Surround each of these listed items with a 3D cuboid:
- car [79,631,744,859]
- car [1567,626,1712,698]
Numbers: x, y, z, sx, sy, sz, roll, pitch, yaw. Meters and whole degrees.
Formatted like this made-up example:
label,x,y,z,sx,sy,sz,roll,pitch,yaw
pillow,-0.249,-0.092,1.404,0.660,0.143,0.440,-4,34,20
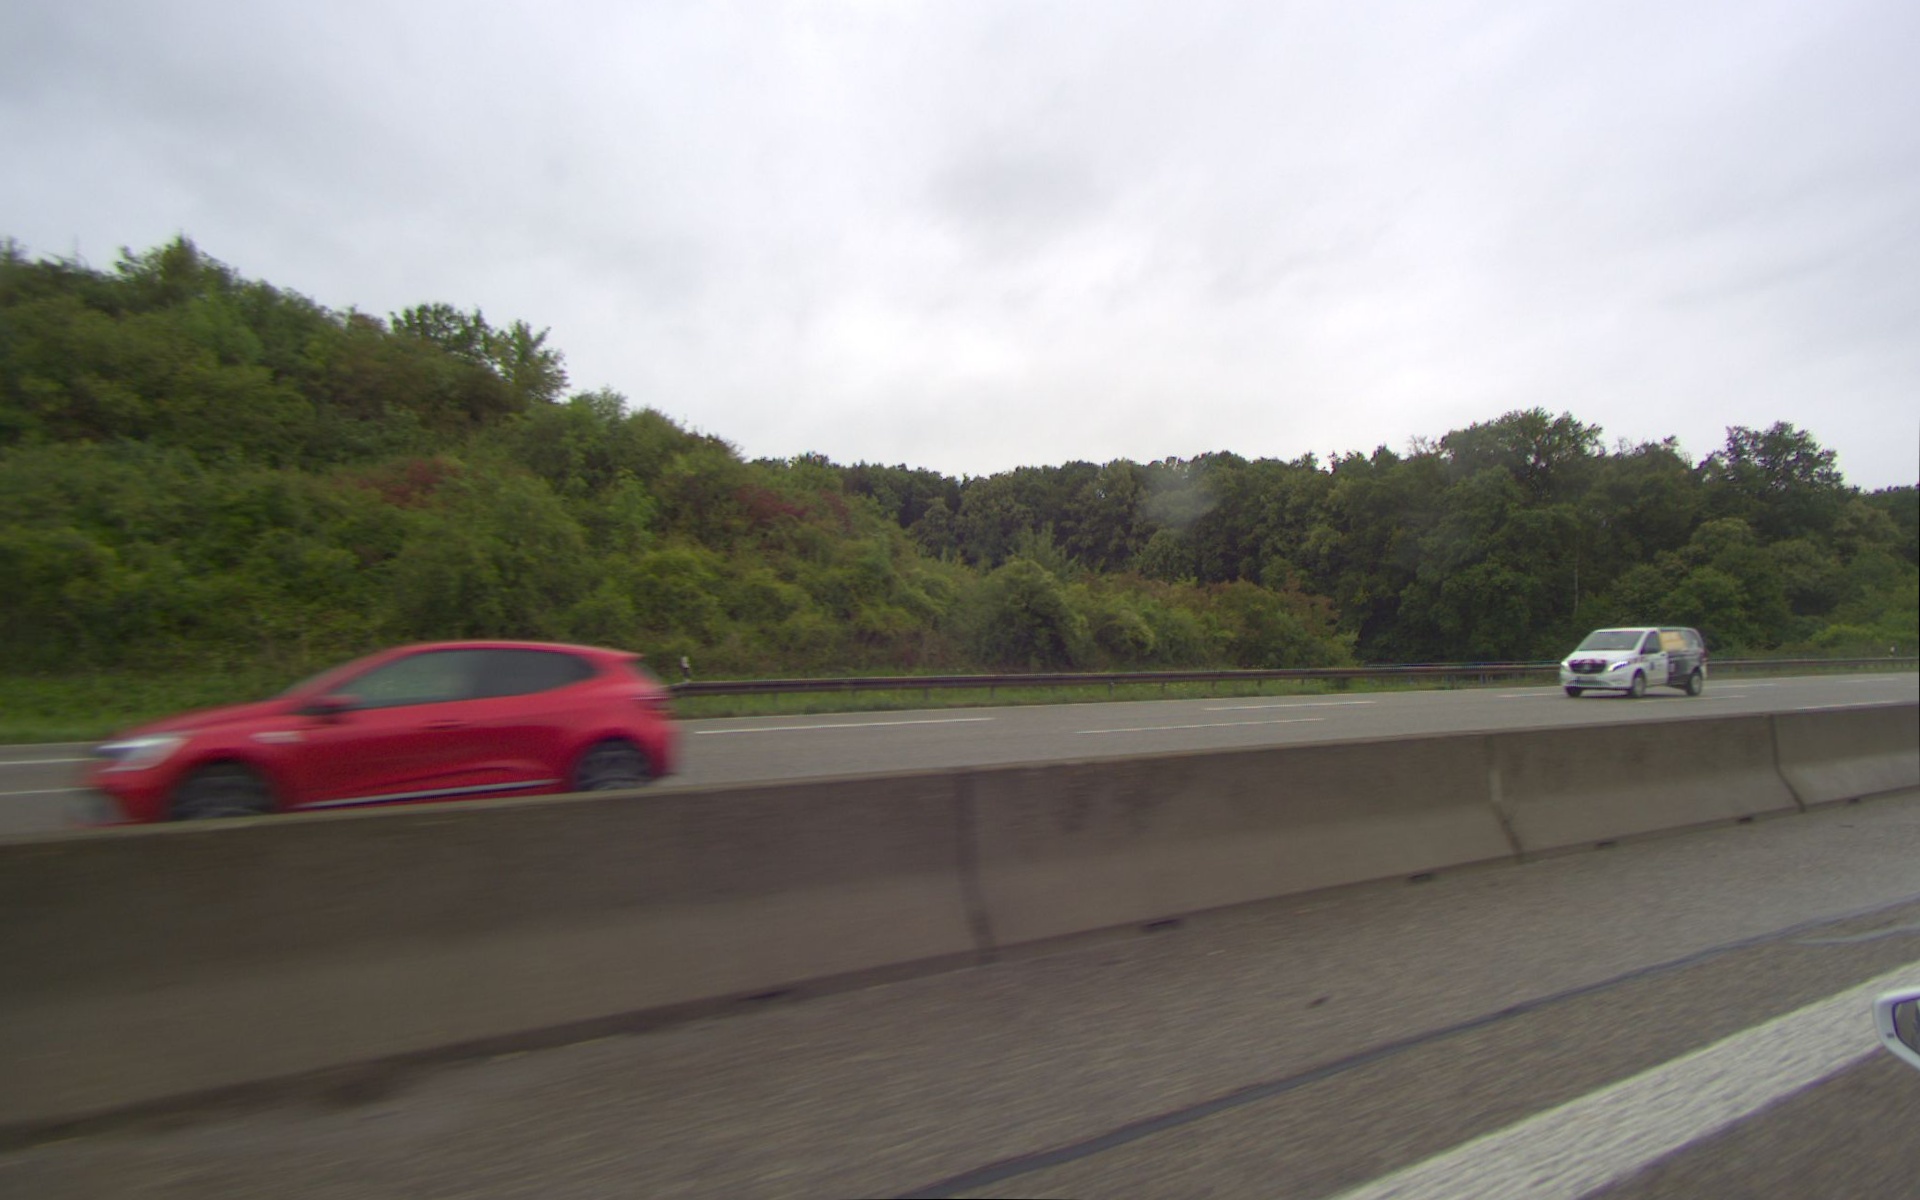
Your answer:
label,x,y,z,sx,sy,sz,roll,pitch,yaw
car,-4.098,1.002,8.157,4.318,1.430,1.626,2,-4,-32
car,19.666,1.752,29.033,4.477,1.929,1.733,2,-2,-30
